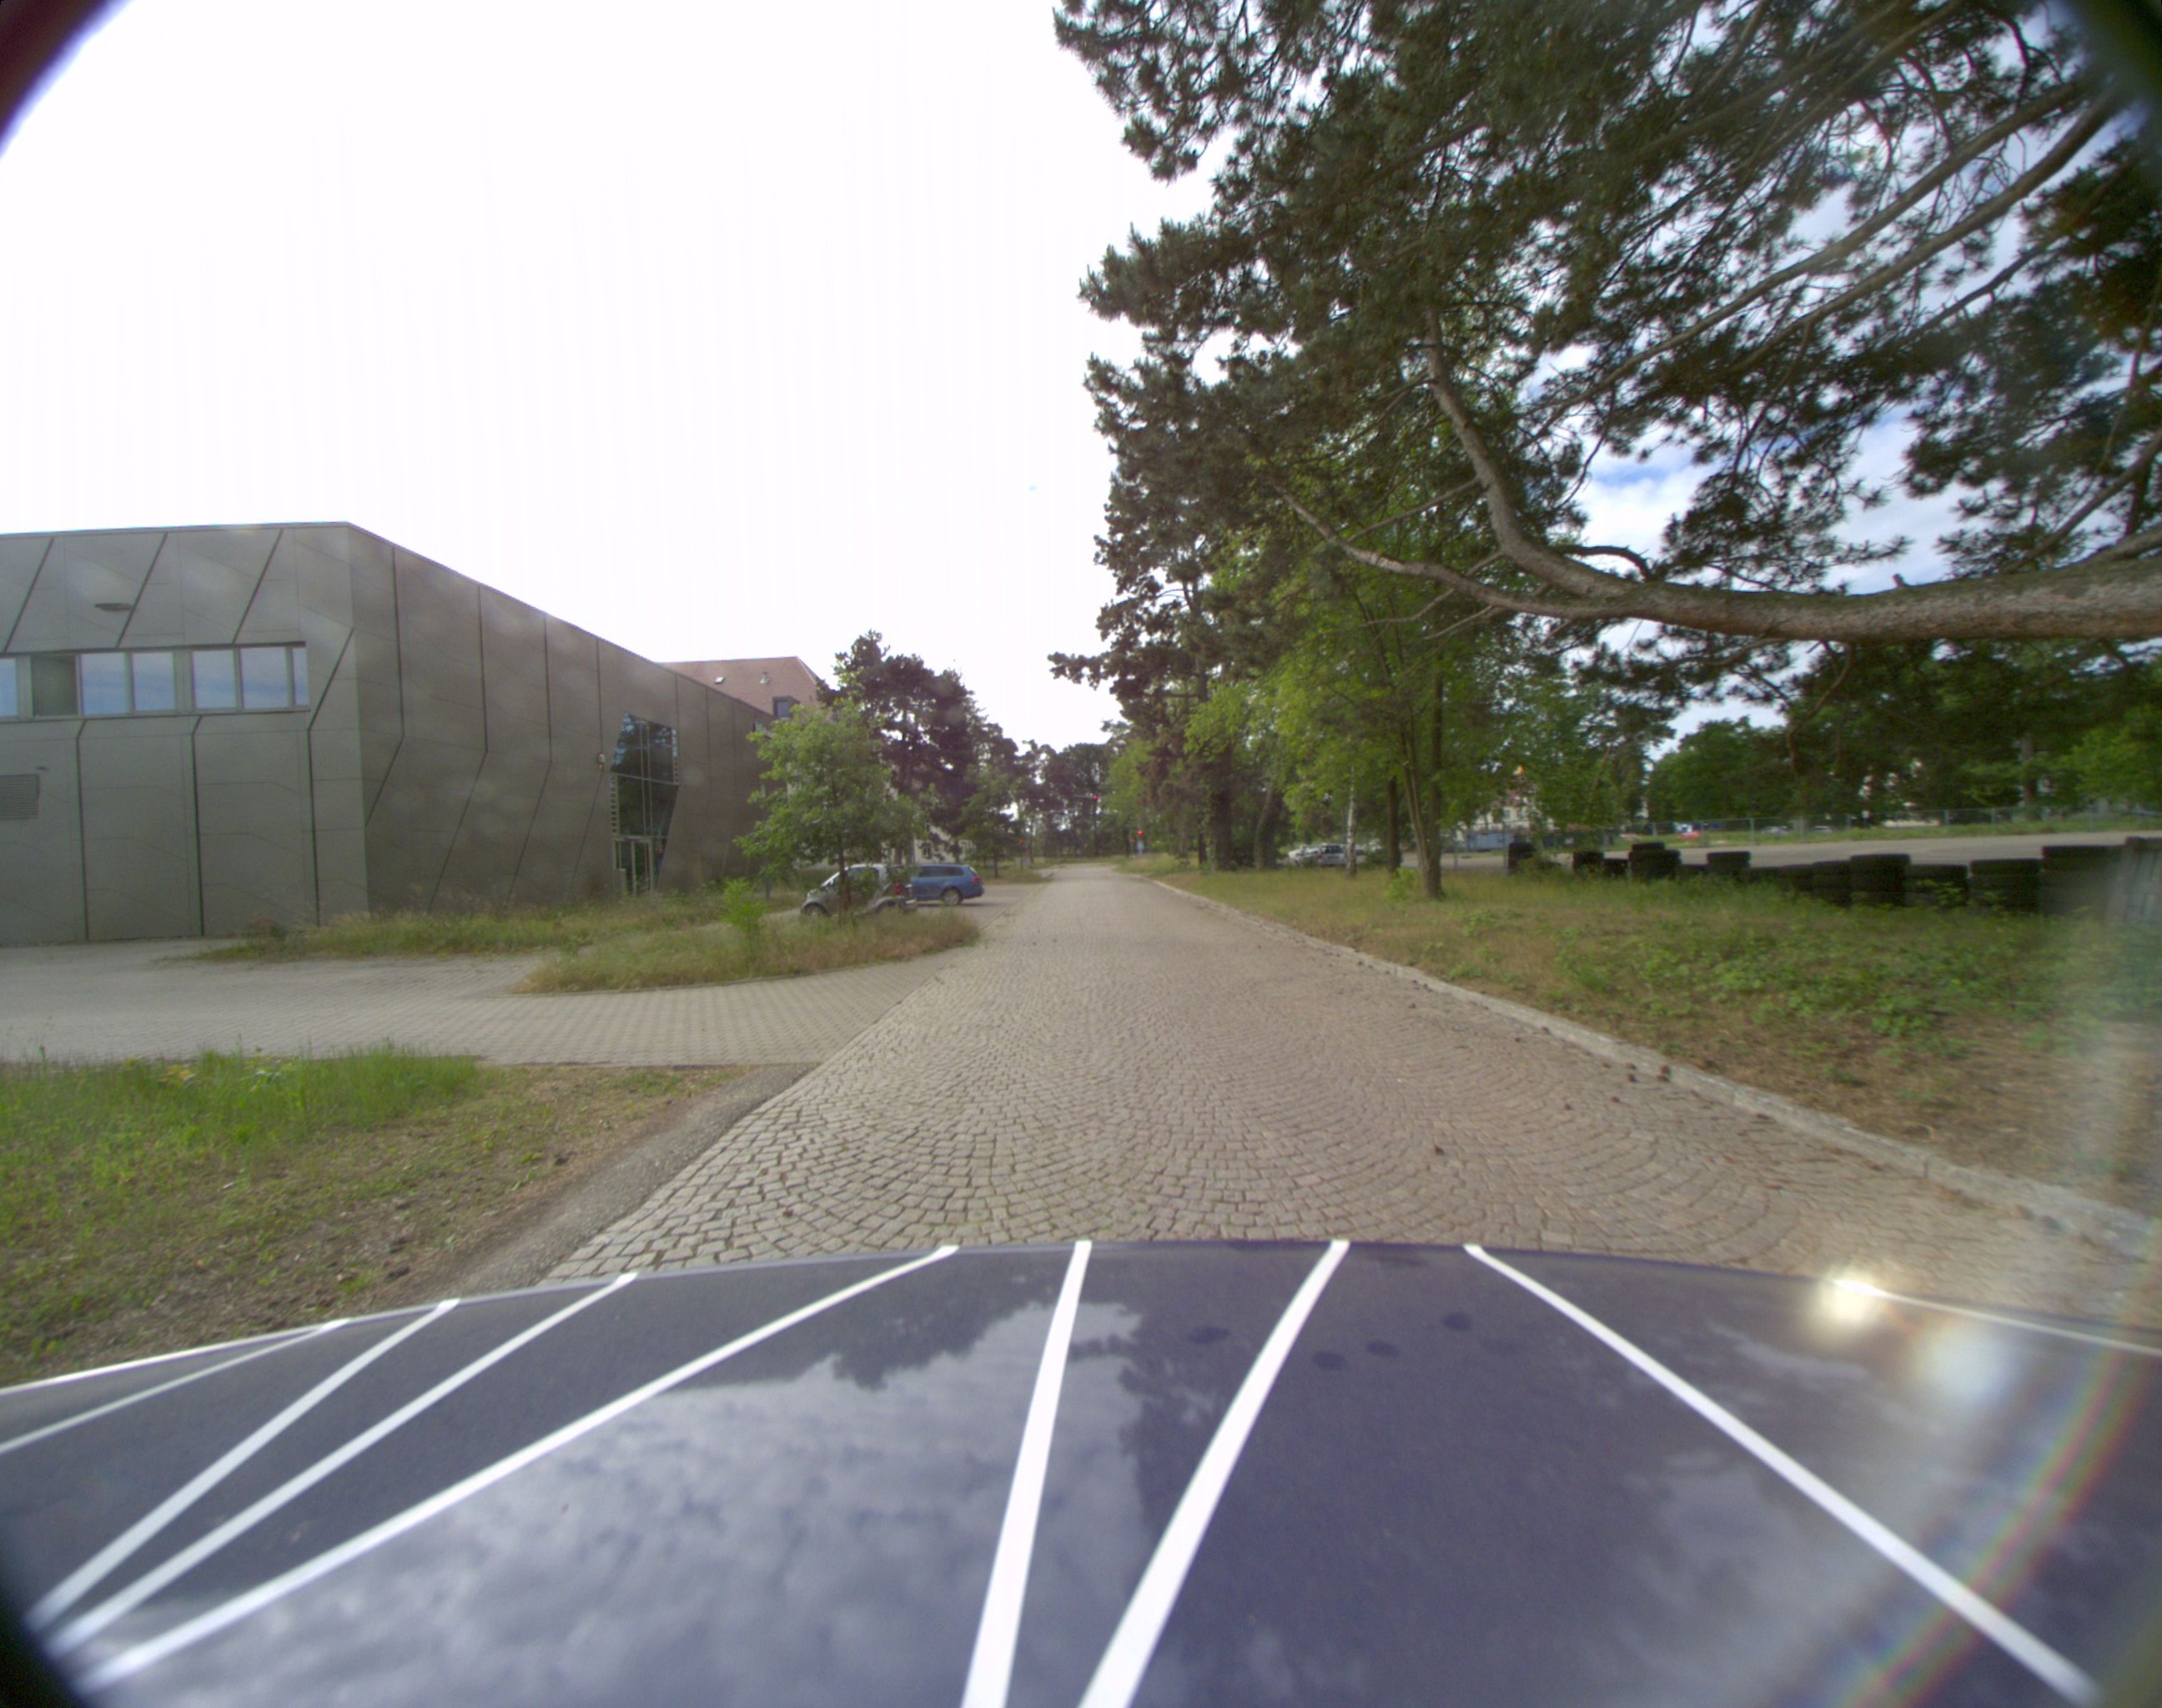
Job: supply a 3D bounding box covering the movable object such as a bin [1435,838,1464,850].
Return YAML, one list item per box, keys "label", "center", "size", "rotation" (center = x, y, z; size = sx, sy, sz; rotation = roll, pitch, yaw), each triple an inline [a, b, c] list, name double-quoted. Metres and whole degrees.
- label: "movable object such as a bin"
  center: [32.239, -0.835, 66.550]
  size: [1.448, 0.963, 1.957]
  rotation: [-3, 0, -8]

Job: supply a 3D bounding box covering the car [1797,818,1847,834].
- label: "car"
  center: [87.932, -3.286, 90.215]
  size: [1.828, 1.712, 4.584]
  rotation: [-2, 0, 8]

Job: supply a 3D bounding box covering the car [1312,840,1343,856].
- label: "car"
  center: [25.498, -0.608, 78.715]
  size: [1.674, 1.511, 3.899]
  rotation: [-3, -1, -3]

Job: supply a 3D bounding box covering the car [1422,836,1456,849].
- label: "car"
  center: [42.574, -1.376, 90.442]
  size: [1.829, 1.467, 4.401]
  rotation: [-3, 0, -3]

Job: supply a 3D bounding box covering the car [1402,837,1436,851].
- label: "car"
  center: [40.029, -1.175, 90.084]
  size: [1.829, 1.467, 4.401]
  rotation: [-3, 0, -3]

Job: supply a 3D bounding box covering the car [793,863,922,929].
- label: "car"
  center: [-5.598, 1.038, 19.287]
  size: [2.716, 1.547, 1.653]
  rotation: [-1, 0, 2]

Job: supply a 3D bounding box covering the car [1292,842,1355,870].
- label: "car"
  center: [13.042, 0.099, 41.169]
  size: [1.829, 1.408, 4.420]
  rotation: [0, 0, -3]

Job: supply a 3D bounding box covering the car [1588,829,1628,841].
- label: "car"
  center: [62.563, -2.250, 90.281]
  size: [1.711, 1.343, 4.402]
  rotation: [-3, 0, -1]

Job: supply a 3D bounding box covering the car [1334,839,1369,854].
- label: "car"
  center: [28.142, -0.726, 79.147]
  size: [1.829, 1.467, 4.401]
  rotation: [-3, 0, -3]

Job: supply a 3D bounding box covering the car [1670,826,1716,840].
- label: "car"
  center: [72.961, -2.510, 90.665]
  size: [1.829, 1.467, 4.402]
  rotation: [-3, 0, -1]

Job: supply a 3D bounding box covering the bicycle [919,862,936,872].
- label: "bicycle"
  center: [-17.085, 1.418, 84.706]
  size: [1.655, 1.079, 0.615]
  rotation: [-3, 1, 2]

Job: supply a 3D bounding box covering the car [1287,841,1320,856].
- label: "car"
  center: [22.992, -0.520, 78.648]
  size: [1.829, 1.417, 4.319]
  rotation: [-3, 0, -3]

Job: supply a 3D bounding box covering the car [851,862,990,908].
- label: "car"
  center: [-5.541, 1.068, 26.673]
  size: [4.503, 1.467, 1.830]
  rotation: [-1, 0, -3]

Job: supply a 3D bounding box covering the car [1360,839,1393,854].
- label: "car"
  center: [30.935, -0.760, 79.652]
  size: [1.637, 1.391, 4.036]
  rotation: [-3, 0, -3]
